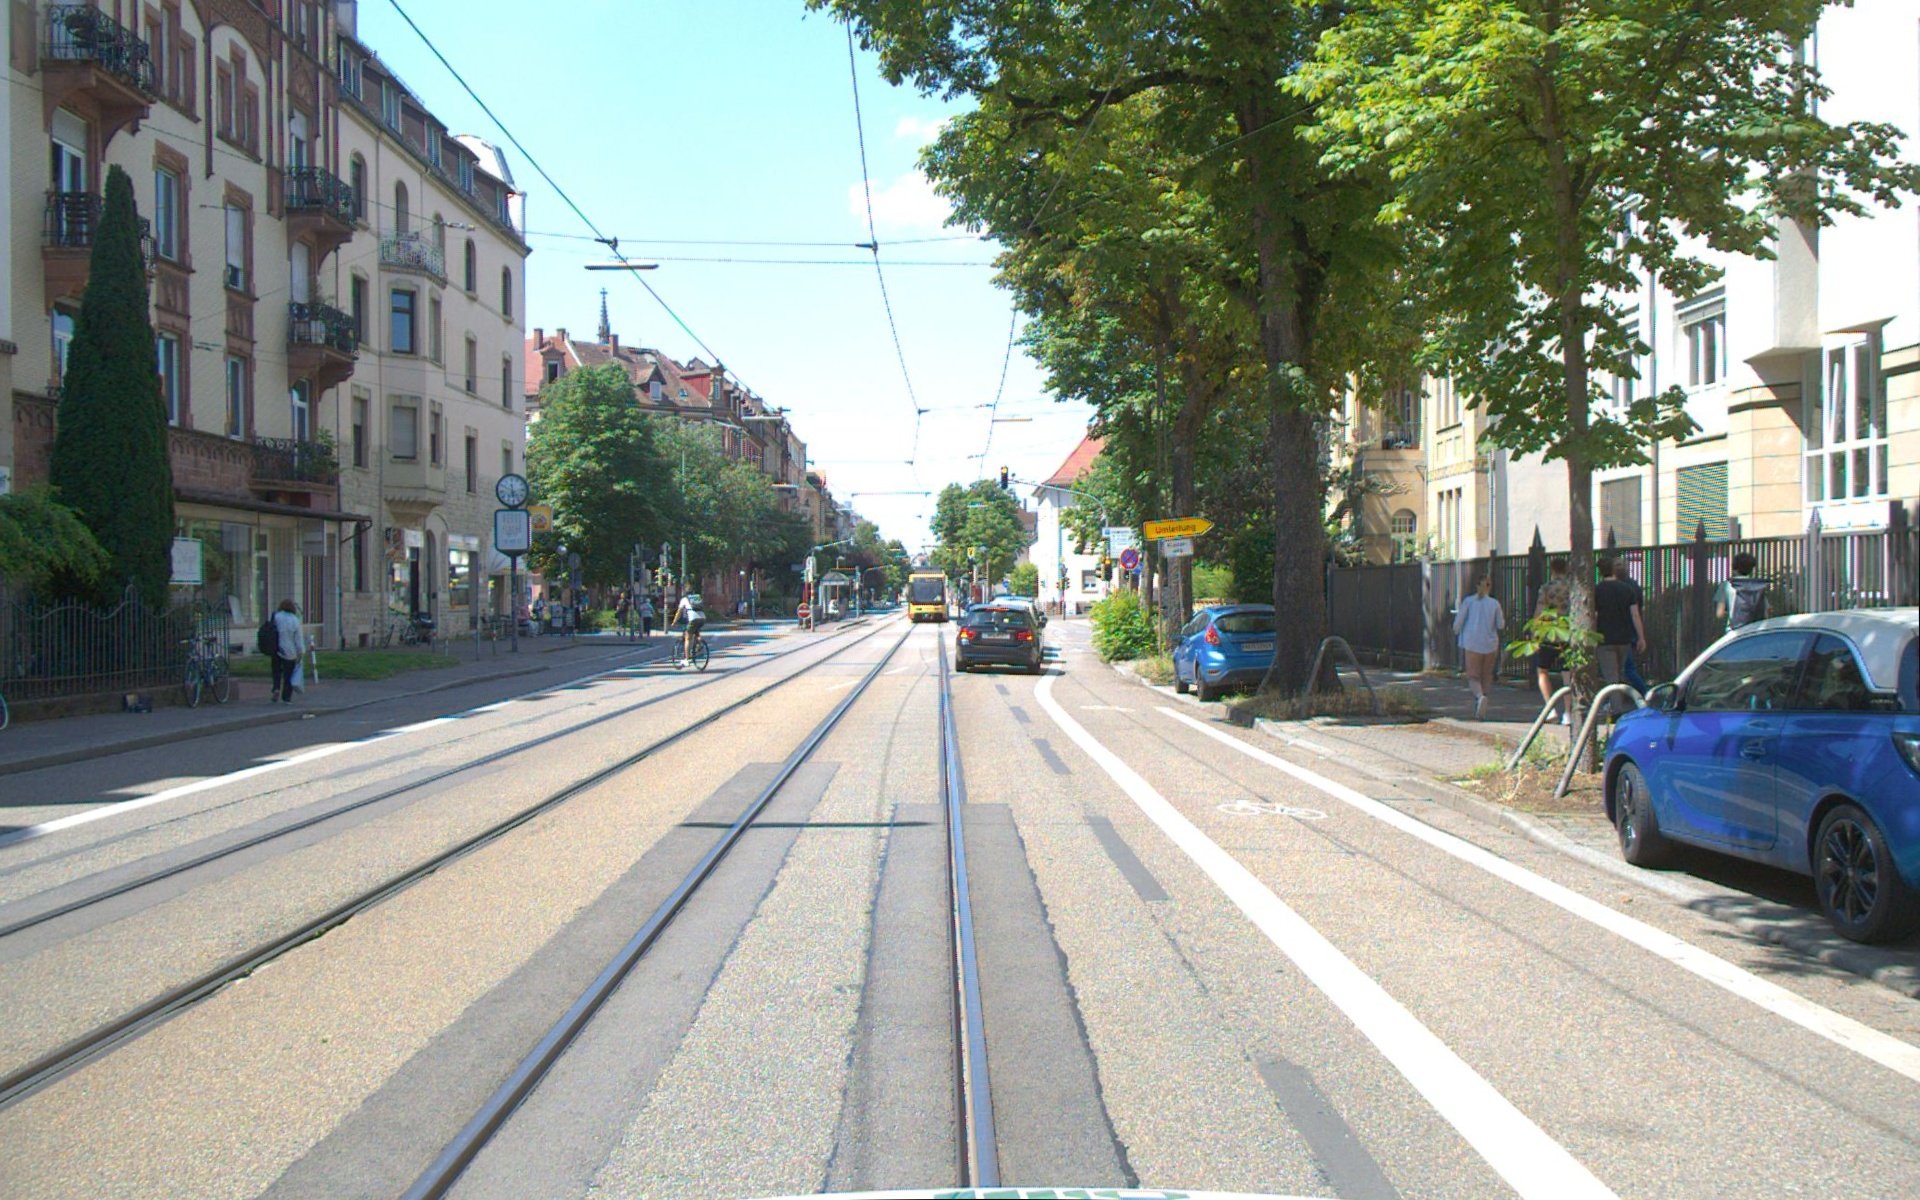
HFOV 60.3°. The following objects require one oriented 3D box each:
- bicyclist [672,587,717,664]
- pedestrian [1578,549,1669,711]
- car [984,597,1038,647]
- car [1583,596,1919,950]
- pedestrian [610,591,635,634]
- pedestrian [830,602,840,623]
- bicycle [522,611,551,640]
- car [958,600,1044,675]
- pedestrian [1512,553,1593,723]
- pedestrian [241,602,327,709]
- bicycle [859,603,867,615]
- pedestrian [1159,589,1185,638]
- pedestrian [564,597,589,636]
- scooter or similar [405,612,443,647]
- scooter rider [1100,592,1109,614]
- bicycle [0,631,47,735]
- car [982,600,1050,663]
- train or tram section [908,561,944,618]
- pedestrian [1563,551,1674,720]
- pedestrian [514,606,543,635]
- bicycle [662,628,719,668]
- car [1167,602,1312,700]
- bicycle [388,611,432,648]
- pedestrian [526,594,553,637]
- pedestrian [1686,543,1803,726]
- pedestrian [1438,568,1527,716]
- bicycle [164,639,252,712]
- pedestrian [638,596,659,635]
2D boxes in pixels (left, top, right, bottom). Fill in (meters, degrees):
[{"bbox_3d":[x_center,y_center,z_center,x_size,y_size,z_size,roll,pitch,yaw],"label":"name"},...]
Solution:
[{"bbox_3d":[-5.887,0.563,36.660,0.747,1.692,0.824,1,-1,-27],"label":"bicyclist"},{"bbox_3d":[7.764,0.342,19.387,0.647,1.843,0.977,-1,0,-1],"label":"pedestrian"},{"bbox_3d":[1.703,0.708,54.448,1.656,1.540,3.823,1,0,3],"label":"car"},{"bbox_3d":[4.836,0.729,8.787,1.657,1.478,3.473,-1,0,-2],"label":"car"},{"bbox_3d":[-15.300,0.575,74.981,0.882,1.924,1.164,0,0,-1],"label":"pedestrian"},{"bbox_3d":[-7.518,0.771,99.523,0.602,1.264,0.627,0,0,-6],"label":"pedestrian"},{"bbox_3d":[-17.324,1.033,67.617,0.539,1.148,1.660,0,-2,-37],"label":"bicycle"},{"bbox_3d":[0.864,0.752,35.516,1.687,1.433,4.565,2,0,1],"label":"car"},{"bbox_3d":[6.500,0.408,18.181,0.689,1.807,0.948,-1,0,12],"label":"pedestrian"},{"bbox_3d":[-10.186,0.822,24.950,0.882,1.569,0.984,-1,0,-1],"label":"pedestrian"},{"bbox_3d":[-9.683,0.878,165.052,0.714,1.121,1.715,-1,0,-1],"label":"bicycle"},{"bbox_3d":[7.383,0.468,57.628,0.839,1.674,0.837,-1,0,3],"label":"pedestrian"},{"bbox_3d":[-16.550,0.706,71.437,0.843,1.664,1.026,-1,0,-2],"label":"pedestrian"},{"bbox_3d":[-16.596,0.915,51.193,0.690,1.062,1.192,1,-1,-41],"label":"scooter or similar"},{"bbox_3d":[11.187,0.247,128.075,0.579,1.716,0.528,-1,0,-6],"label":"scooter rider"},{"bbox_3d":[-10.715,0.913,17.929,0.595,1.083,1.771,3,0,0],"label":"bicycle"},{"bbox_3d":[1.421,0.776,42.378,1.650,1.510,3.685,-1,0,1],"label":"car"},{"bbox_3d":[-2.179,-0.674,107.179,2.146,3.543,8.843,-1,0,-1],"label":"train or tram section"},{"bbox_3d":[7.240,0.377,18.235,0.771,1.792,1.052,-1,0,-1],"label":"pedestrian"},{"bbox_3d":[-16.699,0.793,64.047,0.897,1.096,0.883,-1,0,0],"label":"pedestrian"},{"bbox_3d":[-6.001,1.057,36.776,0.743,0.832,1.804,-1,0,-27],"label":"bicycle"},{"bbox_3d":[4.517,0.785,27.174,1.643,1.469,3.720,-1,0,-2],"label":"car"},{"bbox_3d":[-16.370,0.883,49.249,0.362,1.084,1.464,0,-1,22],"label":"bicycle"},{"bbox_3d":[-17.436,0.629,68.614,0.770,1.763,0.848,1,0,-45],"label":"pedestrian"},{"bbox_3d":[8.106,0.341,17.132,0.670,1.829,1.084,-1,0,-1],"label":"pedestrian"},{"bbox_3d":[6.110,0.481,19.383,0.750,1.680,0.974,-1,0,3],"label":"pedestrian"},{"bbox_3d":[-10.806,1.068,23.816,0.402,0.977,1.841,3,-1,-1],"label":"bicycle"},{"bbox_3d":[-13.859,0.685,73.608,0.899,1.753,0.838,-1,0,-9],"label":"pedestrian"}]
